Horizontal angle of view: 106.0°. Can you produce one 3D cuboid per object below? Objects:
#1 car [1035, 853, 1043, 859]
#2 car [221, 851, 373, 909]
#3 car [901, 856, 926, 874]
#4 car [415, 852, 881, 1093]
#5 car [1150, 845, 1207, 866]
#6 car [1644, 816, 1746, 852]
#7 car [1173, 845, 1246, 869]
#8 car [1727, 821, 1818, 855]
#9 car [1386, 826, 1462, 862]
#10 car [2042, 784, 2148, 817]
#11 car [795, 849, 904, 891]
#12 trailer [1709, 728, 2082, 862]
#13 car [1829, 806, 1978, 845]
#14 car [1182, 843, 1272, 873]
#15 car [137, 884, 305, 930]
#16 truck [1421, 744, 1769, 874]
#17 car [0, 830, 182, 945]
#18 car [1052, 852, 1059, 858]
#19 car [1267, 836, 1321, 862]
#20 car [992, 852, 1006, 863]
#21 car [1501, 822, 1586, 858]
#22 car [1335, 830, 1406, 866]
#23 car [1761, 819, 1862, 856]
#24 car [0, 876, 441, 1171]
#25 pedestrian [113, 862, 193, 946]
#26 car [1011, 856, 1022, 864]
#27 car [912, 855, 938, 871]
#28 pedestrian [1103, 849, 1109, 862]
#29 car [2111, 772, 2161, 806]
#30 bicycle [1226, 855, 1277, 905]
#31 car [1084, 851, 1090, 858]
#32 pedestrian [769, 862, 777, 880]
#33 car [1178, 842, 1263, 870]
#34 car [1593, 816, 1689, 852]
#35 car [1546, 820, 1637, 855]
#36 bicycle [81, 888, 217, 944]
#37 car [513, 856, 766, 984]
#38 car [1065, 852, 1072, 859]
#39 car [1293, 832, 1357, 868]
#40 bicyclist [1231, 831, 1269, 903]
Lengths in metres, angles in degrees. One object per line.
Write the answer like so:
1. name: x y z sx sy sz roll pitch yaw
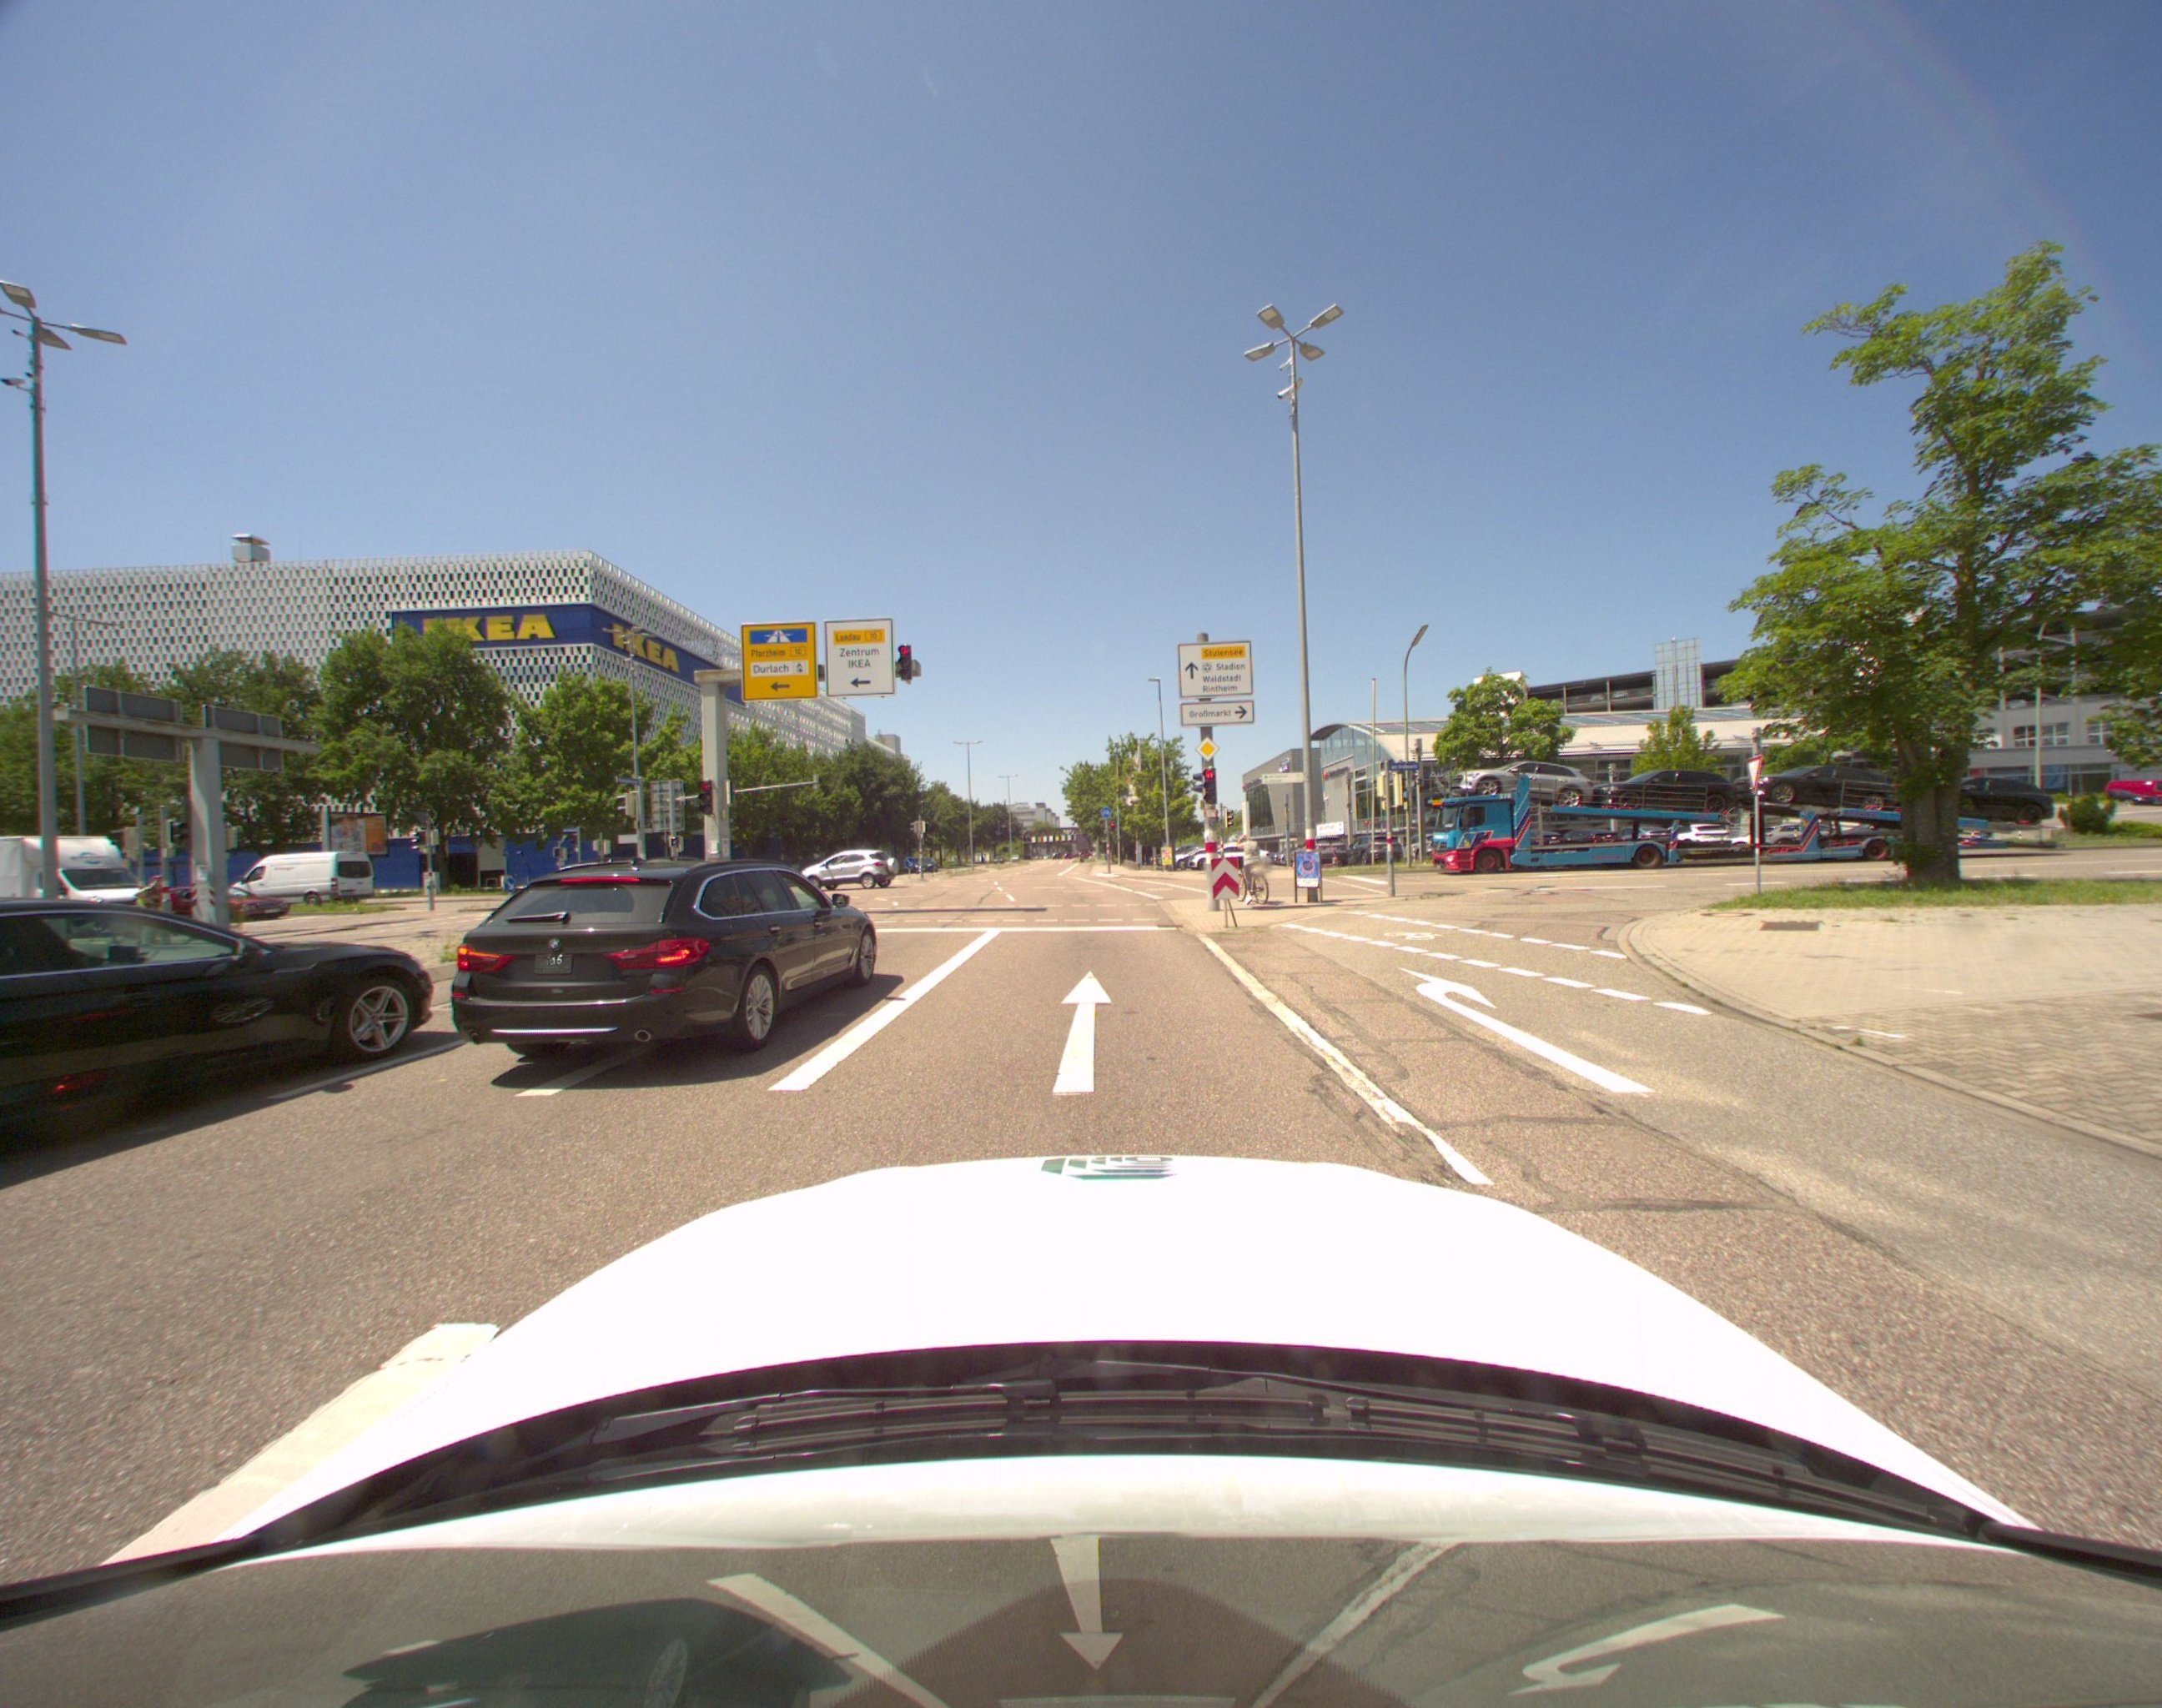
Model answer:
1. car: -11.413 0.457 221.501 1.726 1.427 3.706 -4 0 1
2. car: -37.175 1.214 38.702 5.466 2.566 2.002 -1 0 4
3. car: -20.859 1.345 101.458 1.986 2.007 4.765 -3 0 1
4. car: -3.338 0.751 7.526 1.794 1.465 4.622 -1 1 0
5. car: 8.516 0.119 71.314 4.728 1.457 1.999 -3 1 -1
6. car: 31.060 -1.003 41.401 1.821 1.639 4.475 -3 1 1
7. car: 8.838 0.198 56.391 4.728 1.457 1.999 -2 1 -1
8. car: 39.709 -0.896 46.885 3.721 1.772 1.781 -2 0 31
9. car: 17.293 -0.500 41.340 1.987 1.639 4.442 -3 1 1
10. car: 63.894 -3.318 51.433 1.727 1.786 4.000 -2 0 1
11. car: -9.979 0.689 35.200 4.168 1.652 1.720 -2 -1 11
12. trailer: 28.663 -1.982 29.127 9.561 4.081 3.101 -2 1 6
13. car: 39.933 -1.366 39.700 4.706 1.639 1.844 -2 1 23
14. car: 8.114 0.192 45.699 4.722 1.457 2.002 -2 1 2
15. car: -31.344 1.906 29.765 4.266 1.342 1.777 -3 1 2
16. truck: 18.629 -1.580 30.249 10.562 4.082 3.107 -2 1 6
17. car: -34.301 1.106 26.798 6.877 3.485 2.184 -2 2 1
18. car: -7.055 0.280 226.135 1.766 1.728 4.000 -3 0 1
19. car: 18.072 -0.449 69.222 3.972 2.013 2.001 -2 0 1
20. car: -16.213 0.652 160.683 1.984 2.014 4.004 -2 -2 4
21. car: 23.534 -0.710 41.652 1.821 1.639 4.475 -3 1 1
22. car: 14.680 -0.344 41.527 1.987 1.639 4.558 -3 1 1
23. car: 39.165 -0.856 43.781 3.665 1.777 1.759 -2 0 27
24. car: -6.337 0.928 4.545 1.741 1.390 4.536 -2 0 3
25. pedestrian: -23.360 1.227 20.513 0.903 2.013 0.863 -3 0 -5
26. car: -14.732 1.364 186.184 1.918 1.665 4.093 -3 0 3
27. car: -16.927 0.990 88.704 1.868 1.598 4.496 -3 0 1
28. pedestrian: 2.929 0.207 95.397 0.665 1.510 0.736 -2 0 0
29. car: 68.094 -4.133 50.854 1.988 2.013 4.348 -2 0 -1
30. bicycle: 4.241 0.618 20.390 0.785 1.127 1.919 -1 1 -3
31. car: 1.743 0.118 232.362 1.766 1.728 4.000 -3 0 1
32. pedestrian: -25.864 1.406 68.392 0.460 1.482 0.484 -3 0 5
33. car: 8.217 0.143 48.290 4.722 1.457 2.001 -2 -1 2
34. car: 28.363 -0.999 41.437 1.821 1.639 4.475 -3 1 1
35. car: 25.936 -0.845 41.578 1.822 1.639 4.474 -2 1 0
36. bicycle: -23.388 1.548 20.481 2.089 1.212 0.995 -3 0 -5
37. car: -6.217 0.814 12.073 1.795 1.494 3.993 -1 0 -5
38. car: -3.618 0.392 233.119 1.766 1.728 4.000 -3 0 1
39. car: 12.320 -0.221 41.334 1.987 1.639 4.269 -2 1 1
40. bicyclist: 4.211 0.311 20.288 0.732 1.749 0.753 -1 1 -4
